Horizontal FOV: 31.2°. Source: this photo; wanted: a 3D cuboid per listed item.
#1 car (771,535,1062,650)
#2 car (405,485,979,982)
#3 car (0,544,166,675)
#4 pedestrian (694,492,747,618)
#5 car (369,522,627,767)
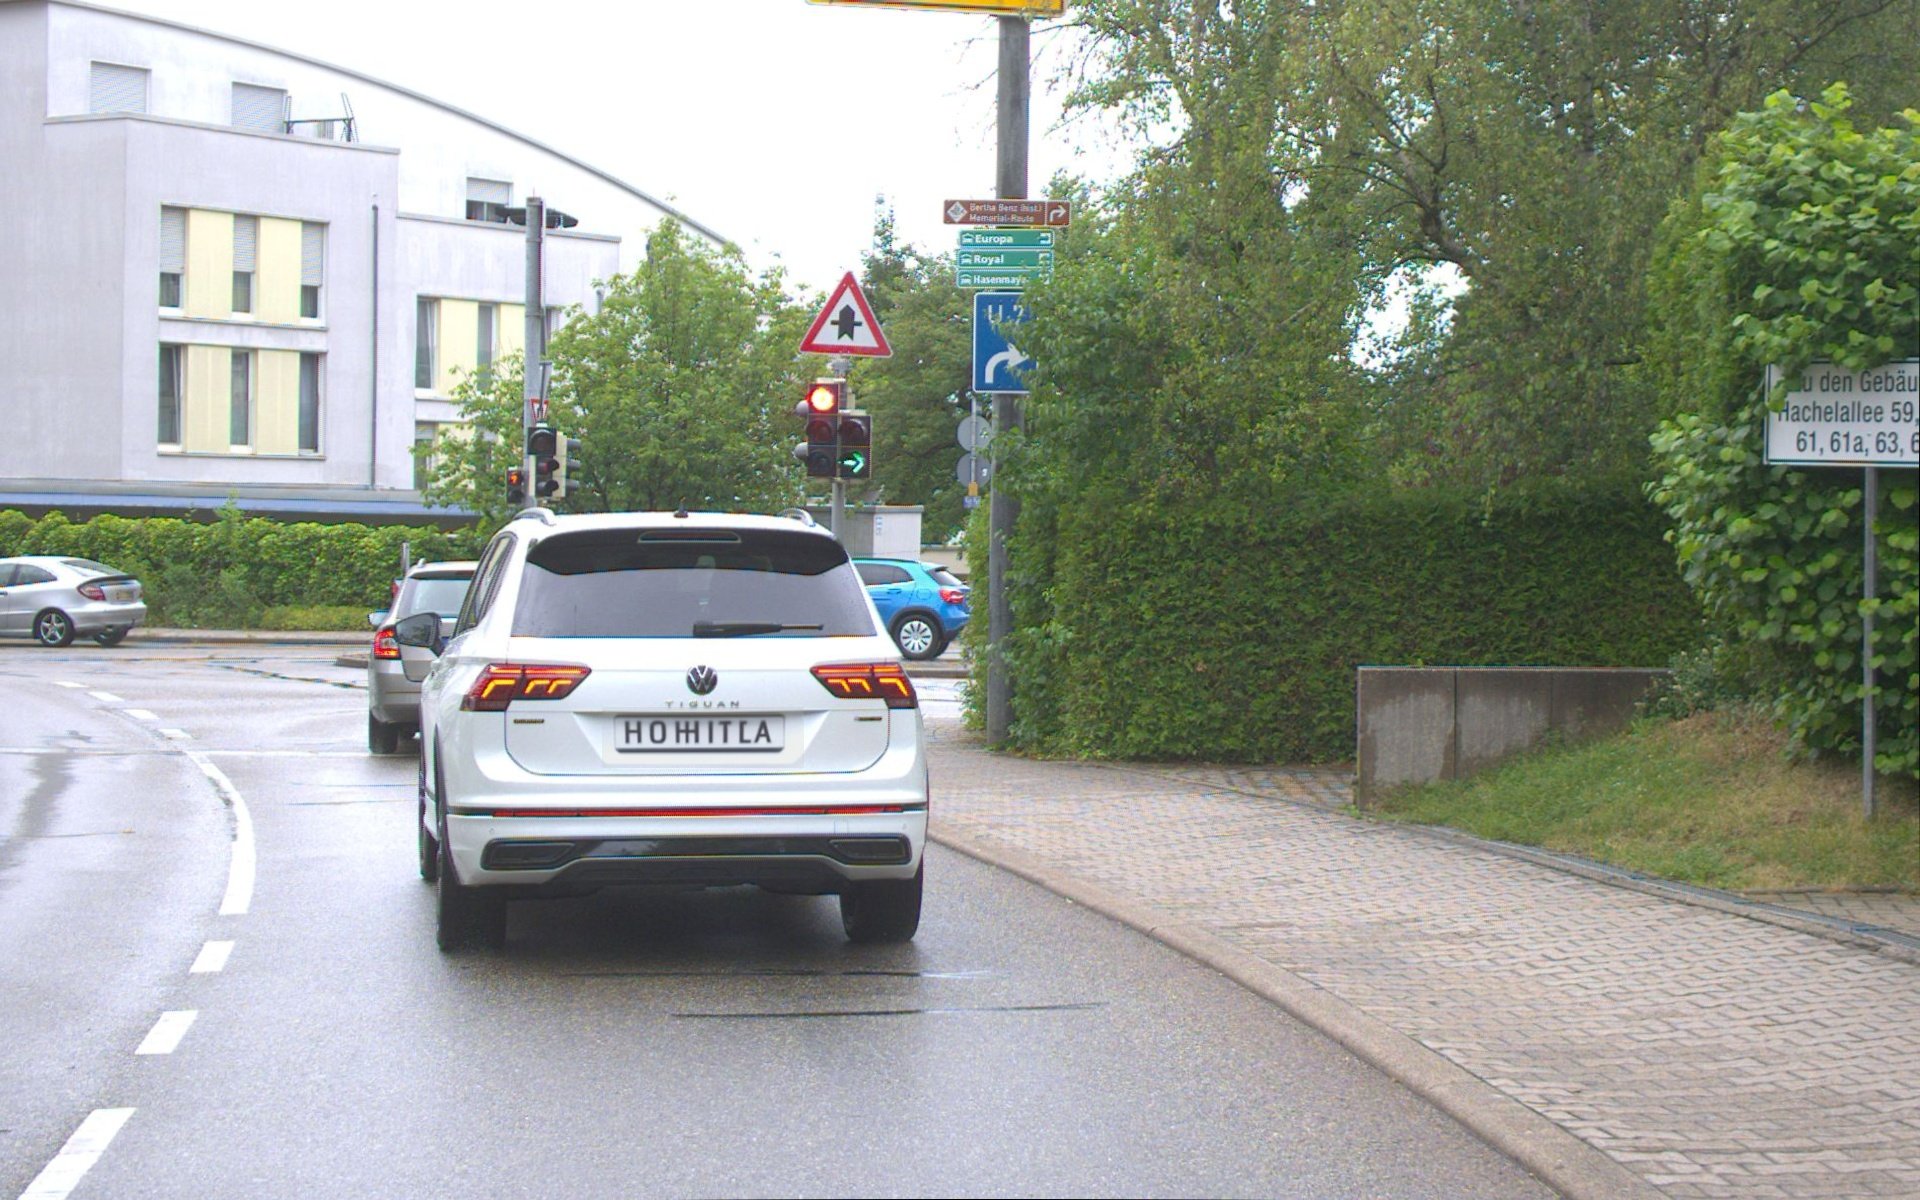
[{"bbox_3d":[-0.599,-0.126,49.952,3.988,1.550,2.000,1,2,7],"label":"car"},{"bbox_3d":[-1.263,0.443,14.128,1.920,1.716,4.266,1,1,-10],"label":"car"},{"bbox_3d":[-14.770,0.080,53.882,3.989,1.752,1.999,4,3,13],"label":"car"},{"bbox_3d":[-3.912,-0.747,56.211,0.799,2.006,0.850,1,3,-2],"label":"pedestrian"},{"bbox_3d":[-3.642,0.282,26.634,1.765,1.504,4.002,3,3,-10],"label":"car"}]
